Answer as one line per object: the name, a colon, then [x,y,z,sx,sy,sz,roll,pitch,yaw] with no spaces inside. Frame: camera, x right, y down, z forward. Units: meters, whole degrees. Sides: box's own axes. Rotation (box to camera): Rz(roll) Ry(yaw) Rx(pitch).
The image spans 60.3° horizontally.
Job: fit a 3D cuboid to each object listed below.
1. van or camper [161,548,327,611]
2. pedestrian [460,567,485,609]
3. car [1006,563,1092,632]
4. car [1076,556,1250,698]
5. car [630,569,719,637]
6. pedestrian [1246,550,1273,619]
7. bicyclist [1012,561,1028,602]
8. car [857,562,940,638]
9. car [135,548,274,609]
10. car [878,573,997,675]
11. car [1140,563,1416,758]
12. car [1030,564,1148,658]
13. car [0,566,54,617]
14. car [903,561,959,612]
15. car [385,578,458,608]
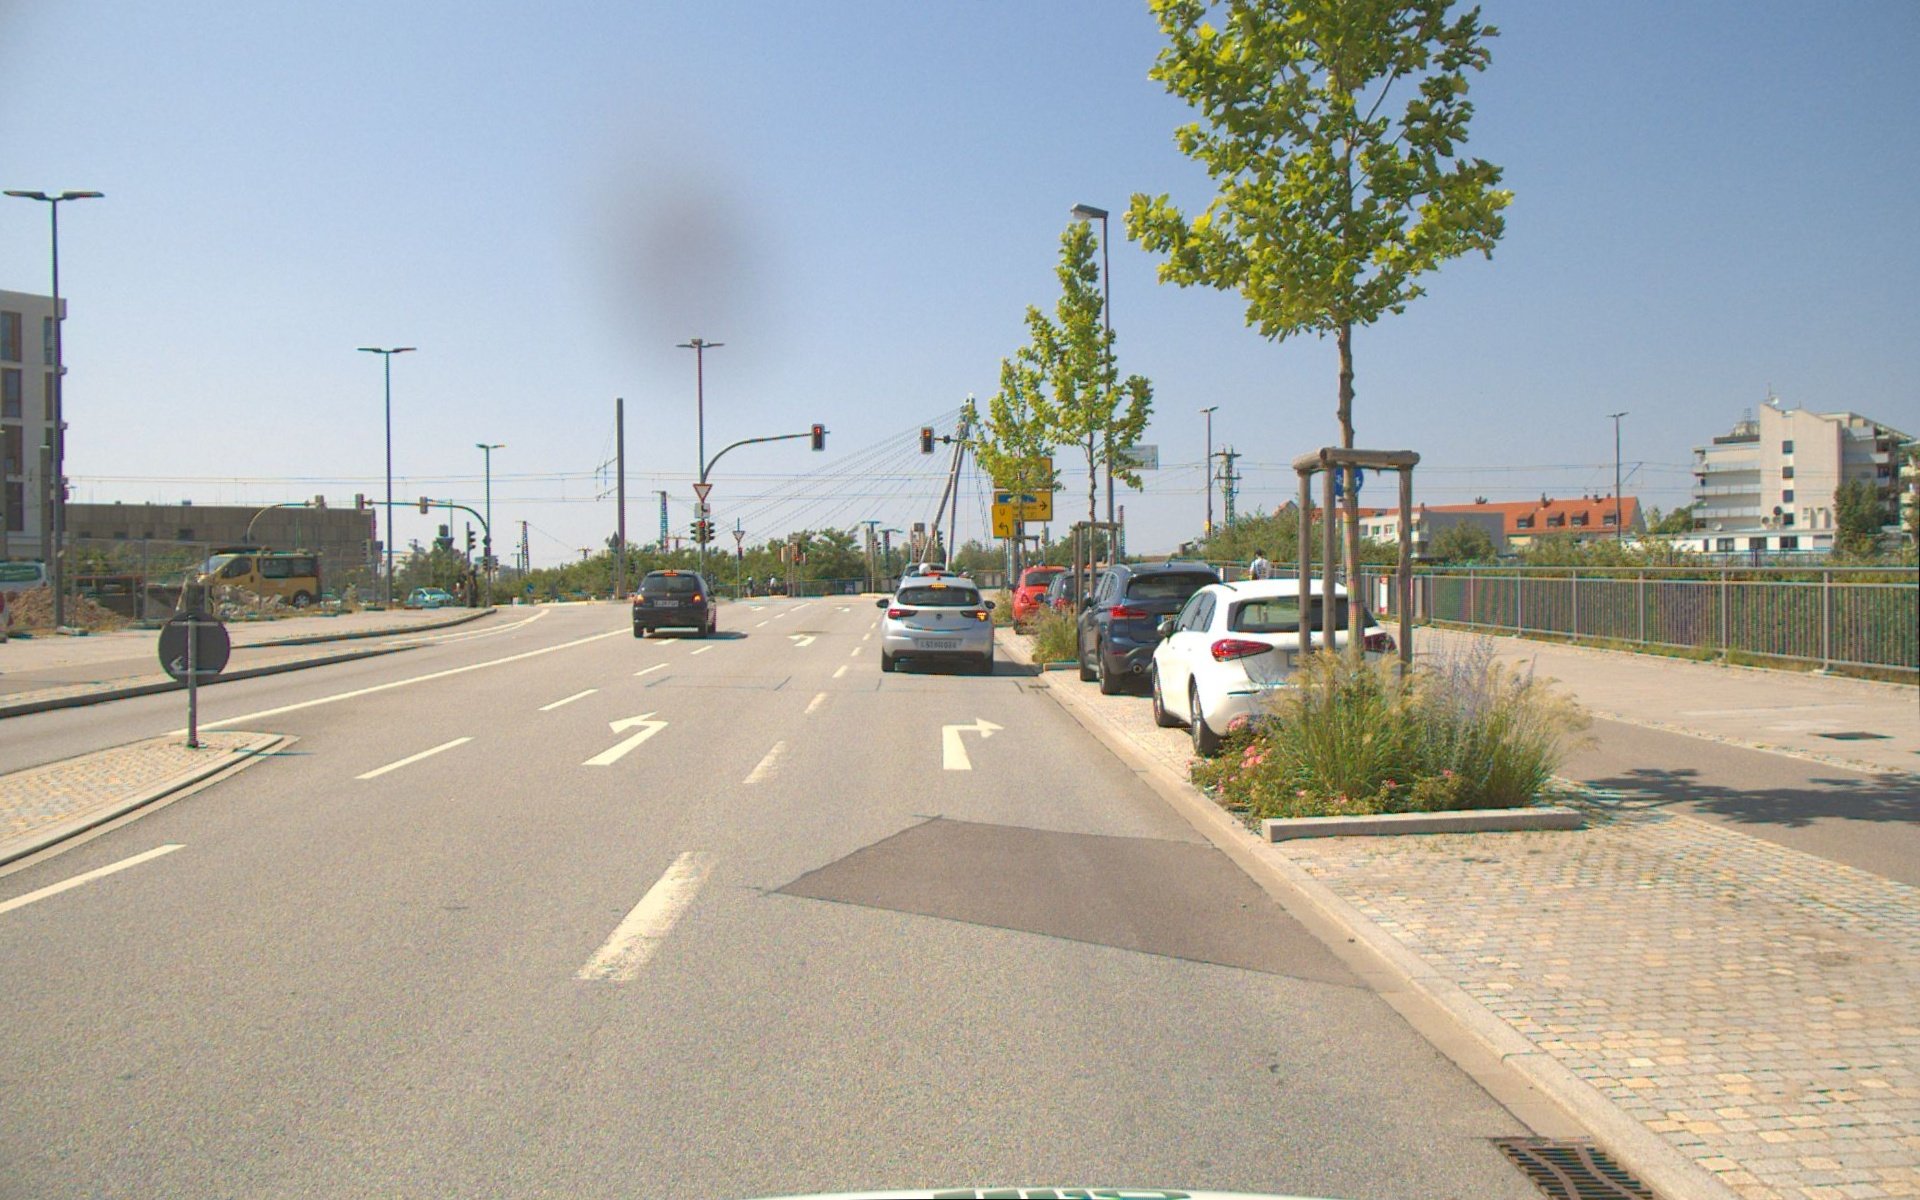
van or camper: [-23.855,-0.642,55.214,1.964,1.930,4.690,0,-2,41]
pedestrian: [-19.800,-0.482,67.135,0.828,1.675,0.826,0,0,-7]
car: [2.087,-0.085,39.890,1.742,1.530,3.999,-1,1,-1]
car: [2.591,0.294,21.825,1.785,1.645,3.611,-2,1,0]
car: [-6.361,0.054,37.116,1.587,1.441,3.724,0,0,-4]
pedestrian: [7.096,-0.361,39.179,0.522,1.603,0.523,1,-1,-1]
bicyclist: [2.481,-0.771,68.088,0.581,1.673,0.312,1,-1,-7]
car: [-1.354,-0.046,37.269,1.742,1.596,3.999,-1,1,-1]
car: [-26.403,-0.744,57.897,1.961,2.049,3.983,0,1,37]
car: [-0.382,0.328,26.840,1.742,1.467,3.999,1,1,-1]
car: [2.771,0.461,15.320,1.662,1.501,4.205,-2,1,-1]
car: [2.374,0.168,31.438,1.742,1.529,3.999,-5,1,-1]
car: [-32.459,-0.295,56.987,2.006,1.701,4.552,0,1,-31]
car: [-0.941,-0.469,54.008,1.742,1.596,3.999,-1,1,-1]
car: [-34.149,-0.462,104.941,3.902,1.803,2.001,1,-1,12]
